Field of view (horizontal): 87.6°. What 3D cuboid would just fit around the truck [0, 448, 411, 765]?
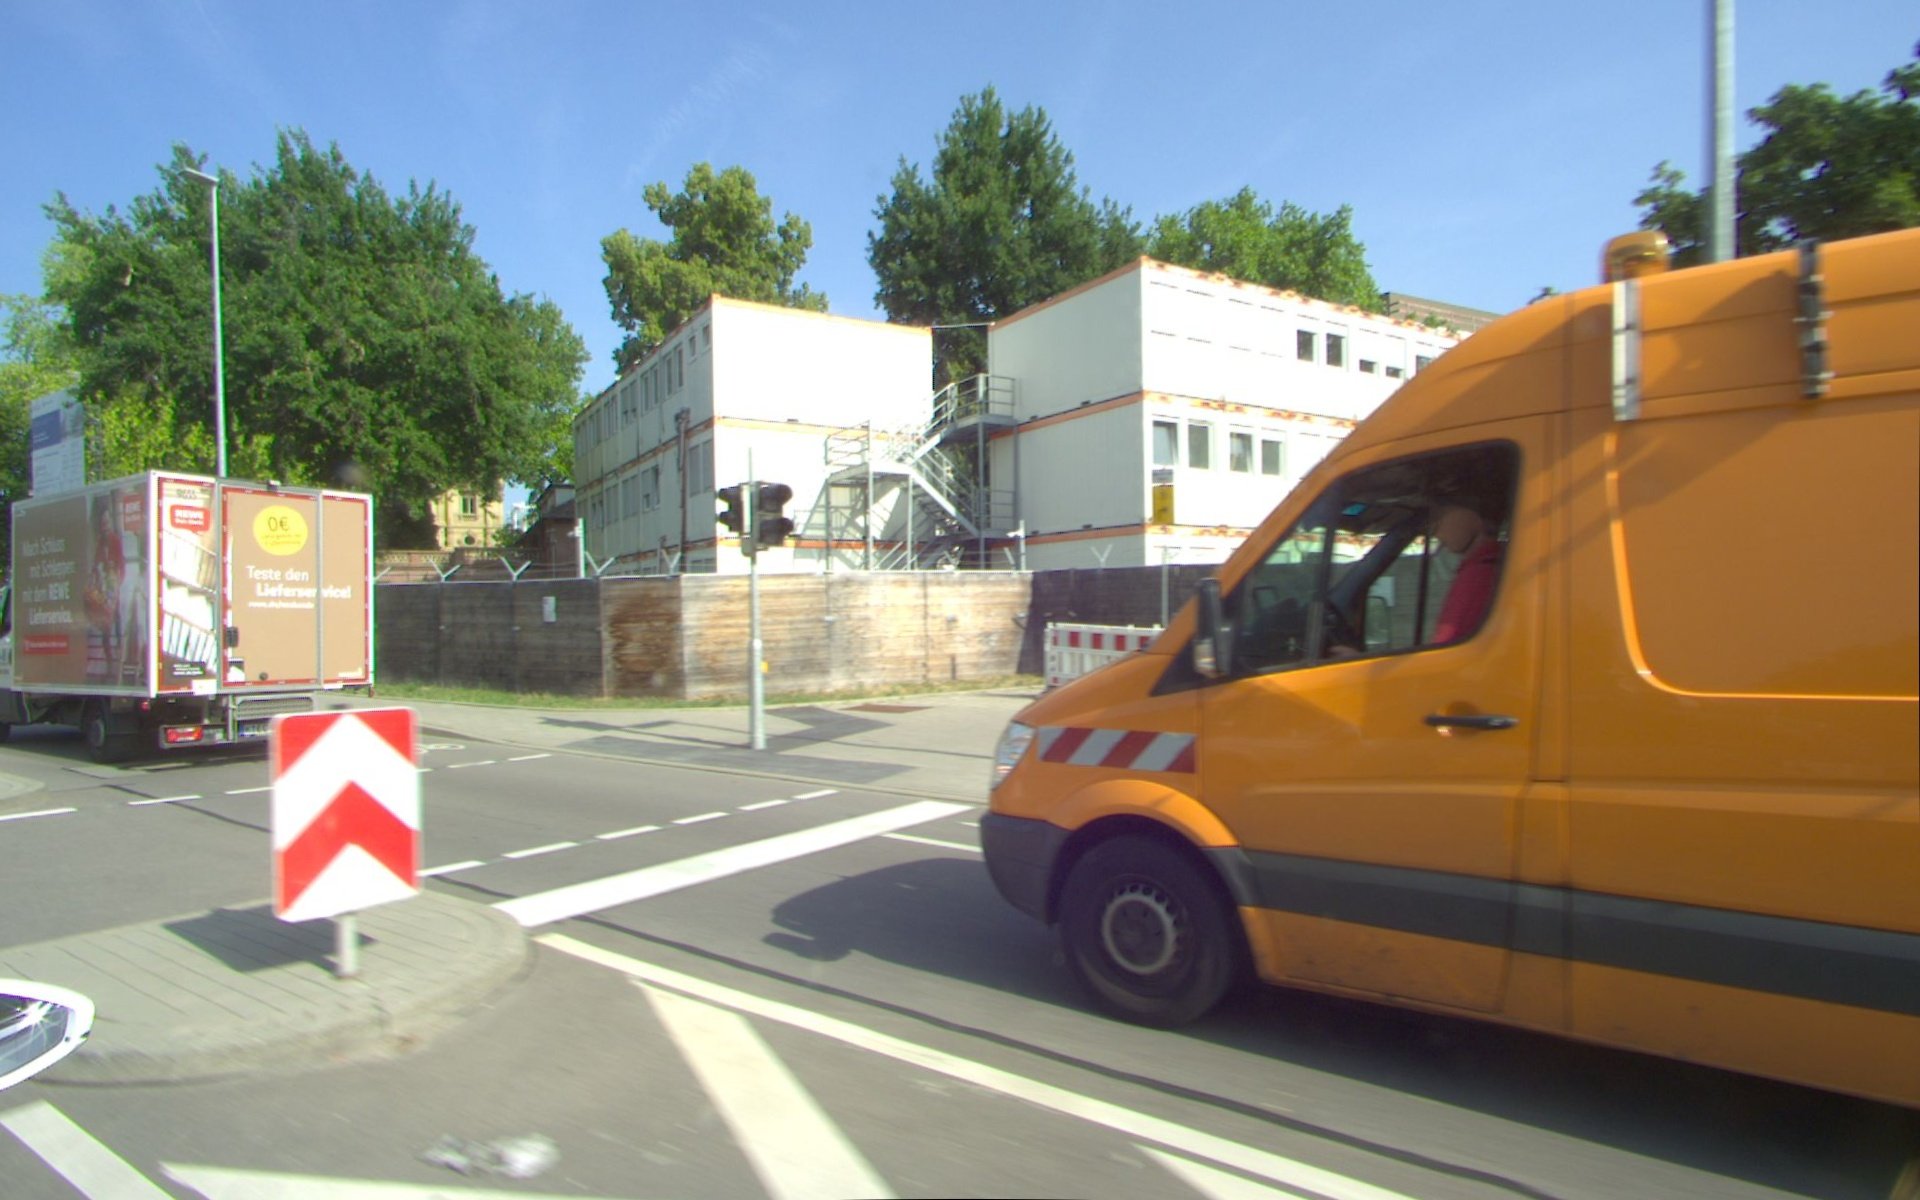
[{"bbox_3d":[-10.487,0.191,12.863,7.706,3.099,2.499,-1,-2,31],"label":"truck"}]

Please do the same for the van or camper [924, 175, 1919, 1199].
[{"bbox_3d":[2.840,0.241,3.251,5.981,2.504,1.980,-1,0,36],"label":"van or camper"}]
